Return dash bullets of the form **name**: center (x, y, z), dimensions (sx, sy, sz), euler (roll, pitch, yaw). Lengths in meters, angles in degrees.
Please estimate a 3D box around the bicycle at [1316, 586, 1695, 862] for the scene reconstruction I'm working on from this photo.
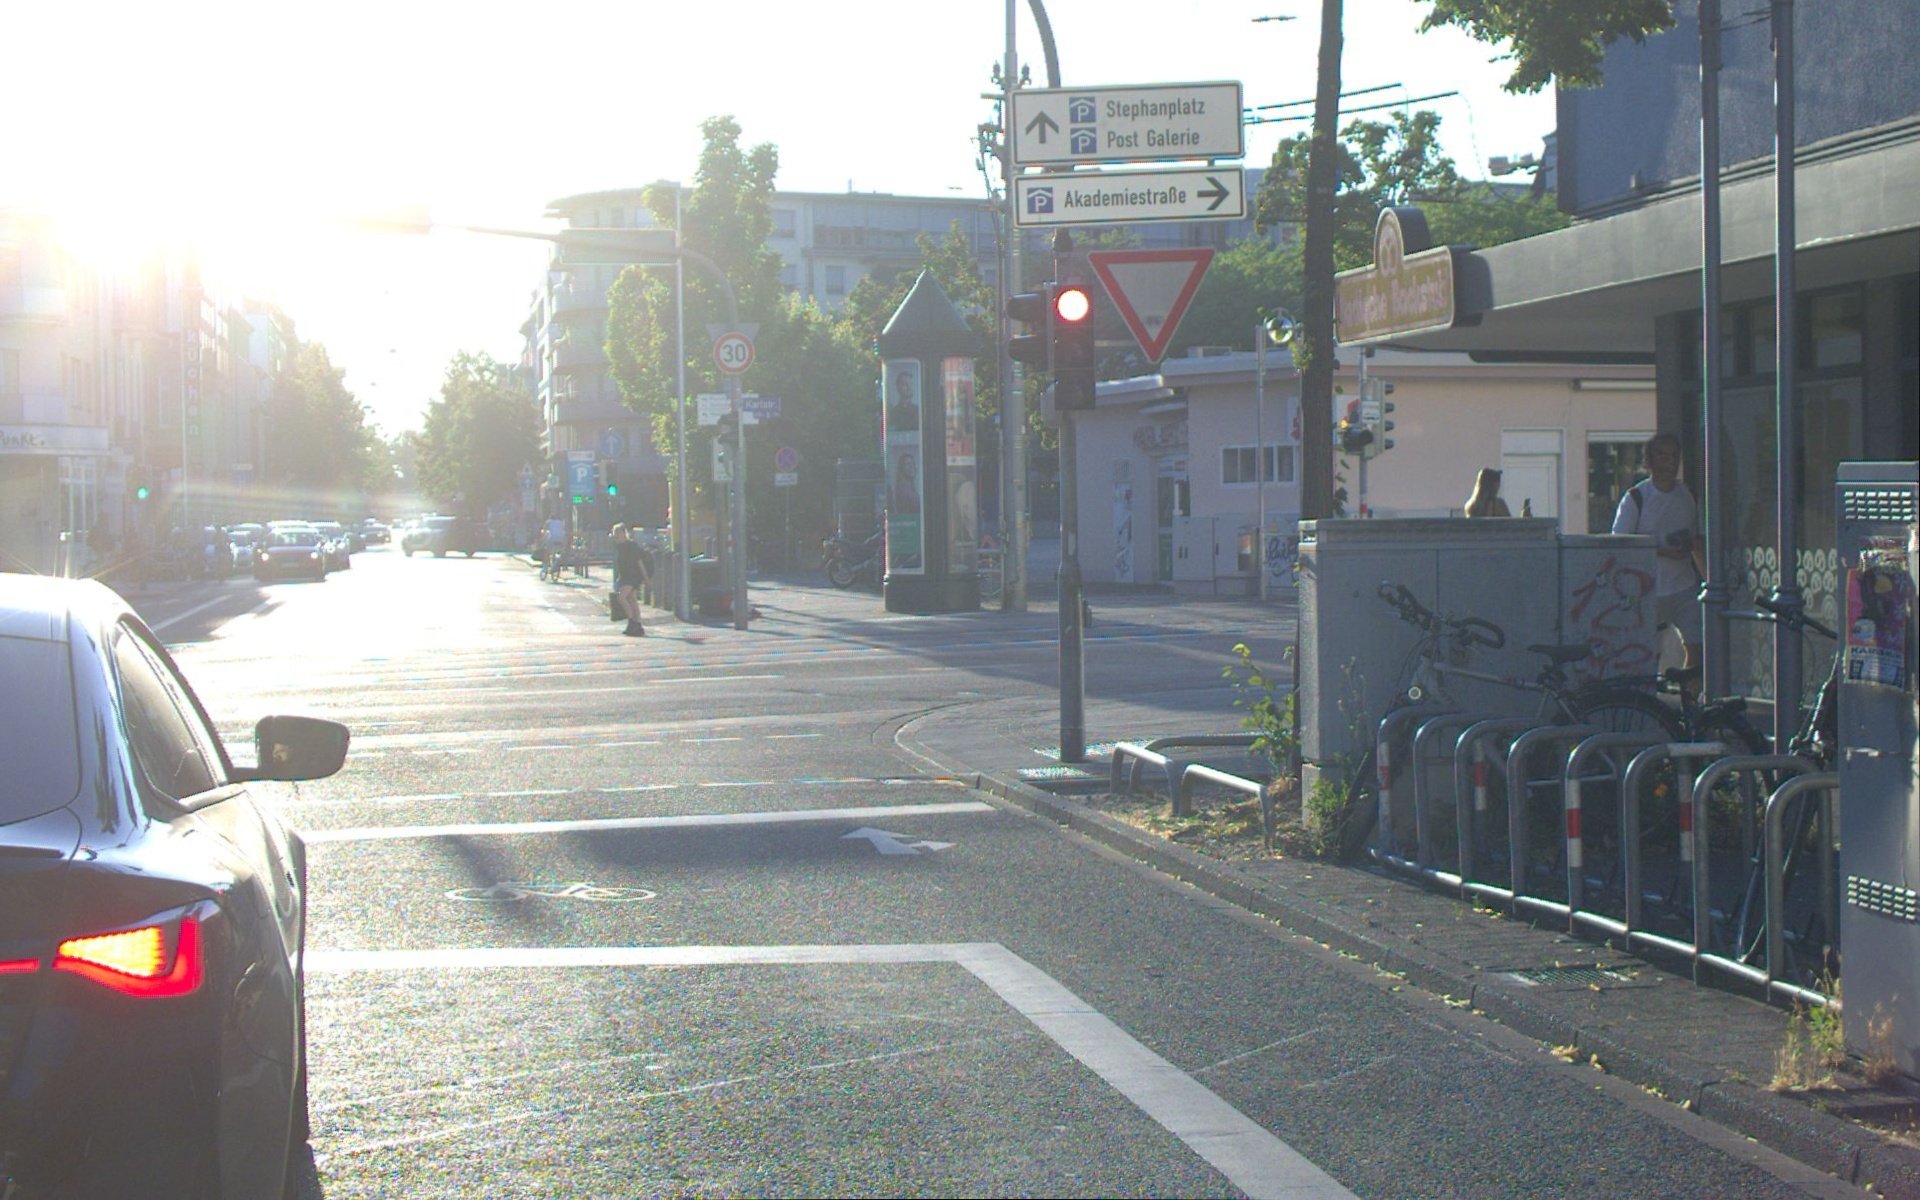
- **bicycle**: center (2.404, 0.538, 15.168), dimensions (1.612, 1.167, 0.318), euler (-1, 1, -6)

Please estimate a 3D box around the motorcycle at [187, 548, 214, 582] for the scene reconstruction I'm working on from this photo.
- **motorcycle**: center (-20.795, -0.958, 94.135), dimensions (0.575, 0.912, 2.201), euler (1, 1, -8)

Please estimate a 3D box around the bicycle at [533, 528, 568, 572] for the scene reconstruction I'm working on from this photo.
- **bicycle**: center (-11.021, -1.343, 92.520), dimensions (0.550, 1.155, 2.145), euler (0, 1, -17)

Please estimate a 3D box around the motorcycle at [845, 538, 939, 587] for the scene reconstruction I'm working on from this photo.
- **motorcycle**: center (-1.347, -0.744, 67.861), dimensions (1.668, 0.935, 0.856), euler (-1, 2, -19)

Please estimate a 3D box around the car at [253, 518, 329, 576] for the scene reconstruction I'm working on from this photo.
- **car**: center (-18.309, -1.461, 94.211), dimensions (1.817, 1.514, 4.001), euler (-1, 2, -8)

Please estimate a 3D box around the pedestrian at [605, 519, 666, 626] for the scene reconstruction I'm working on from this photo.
- **pedestrian**: center (-4.692, -0.400, 49.696), dimensions (0.732, 1.524, 0.473), euler (0, 1, -25)

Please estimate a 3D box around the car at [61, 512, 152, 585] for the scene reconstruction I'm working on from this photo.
- **car**: center (-21.598, -1.322, 87.109), dimensions (1.817, 1.782, 4.001), euler (-1, 2, -8)

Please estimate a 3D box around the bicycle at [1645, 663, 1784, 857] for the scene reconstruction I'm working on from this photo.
- **bicycle**: center (3.361, 0.700, 15.360), dimensions (0.249, 0.793, 1.116), euler (1, 1, -6)

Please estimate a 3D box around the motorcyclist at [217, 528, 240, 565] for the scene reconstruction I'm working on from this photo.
- **motorcyclist**: center (-19.849, -1.460, 93.303), dimensions (0.575, 0.992, 0.703), euler (1, 1, -8)

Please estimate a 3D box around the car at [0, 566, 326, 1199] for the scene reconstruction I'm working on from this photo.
- **car**: center (-2.115, 0.670, 6.504), dimensions (1.736, 1.424, 4.225), euler (0, 1, -10)

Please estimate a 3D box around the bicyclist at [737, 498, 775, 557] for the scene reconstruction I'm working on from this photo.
- **bicyclist**: center (-5.246, -1.867, 88.499), dimensions (0.884, 1.500, 0.612), euler (1, 1, 3)

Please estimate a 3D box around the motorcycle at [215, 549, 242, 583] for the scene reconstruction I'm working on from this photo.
- **motorcycle**: center (-19.881, -0.933, 93.455), dimensions (0.575, 0.912, 2.201), euler (1, 1, -8)

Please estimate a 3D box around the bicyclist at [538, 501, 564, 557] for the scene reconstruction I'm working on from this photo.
- **bicyclist**: center (-11.000, -1.908, 92.460), dimensions (0.550, 1.476, 0.723), euler (0, 0, -17)

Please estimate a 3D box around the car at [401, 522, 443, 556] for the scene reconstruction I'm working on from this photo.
- **car**: center (-24.441, -2.776, 156.170), dimensions (1.817, 1.514, 4.001), euler (-1, 2, -8)

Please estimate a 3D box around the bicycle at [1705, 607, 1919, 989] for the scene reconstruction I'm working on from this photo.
- **bicycle**: center (3.214, 0.642, 11.271), dimensions (1.440, 1.216, 0.383), euler (1, 1, -7)

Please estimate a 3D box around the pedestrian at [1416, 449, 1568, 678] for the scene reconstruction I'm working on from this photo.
- **pedestrian**: center (4.504, -0.319, 29.112), dimensions (1.001, 1.854, 0.640), euler (-5, 3, -28)

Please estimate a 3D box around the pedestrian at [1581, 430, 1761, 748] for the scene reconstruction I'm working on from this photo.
- **pedestrian**: center (4.210, -0.074, 20.384), dimensions (0.835, 1.835, 0.679), euler (-1, 1, -8)

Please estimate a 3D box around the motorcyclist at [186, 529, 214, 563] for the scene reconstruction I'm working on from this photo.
- **motorcyclist**: center (-20.767, -1.485, 93.994), dimensions (0.575, 0.912, 2.201), euler (1, 1, -8)

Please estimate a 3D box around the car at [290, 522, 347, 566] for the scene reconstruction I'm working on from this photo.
- **car**: center (-22.992, -2.028, 123.339), dimensions (1.817, 1.514, 4.001), euler (-1, 2, -8)

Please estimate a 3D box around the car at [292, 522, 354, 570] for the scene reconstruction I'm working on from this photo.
- **car**: center (-20.956, -1.802, 113.212), dimensions (1.817, 1.514, 4.001), euler (-1, 2, -8)
